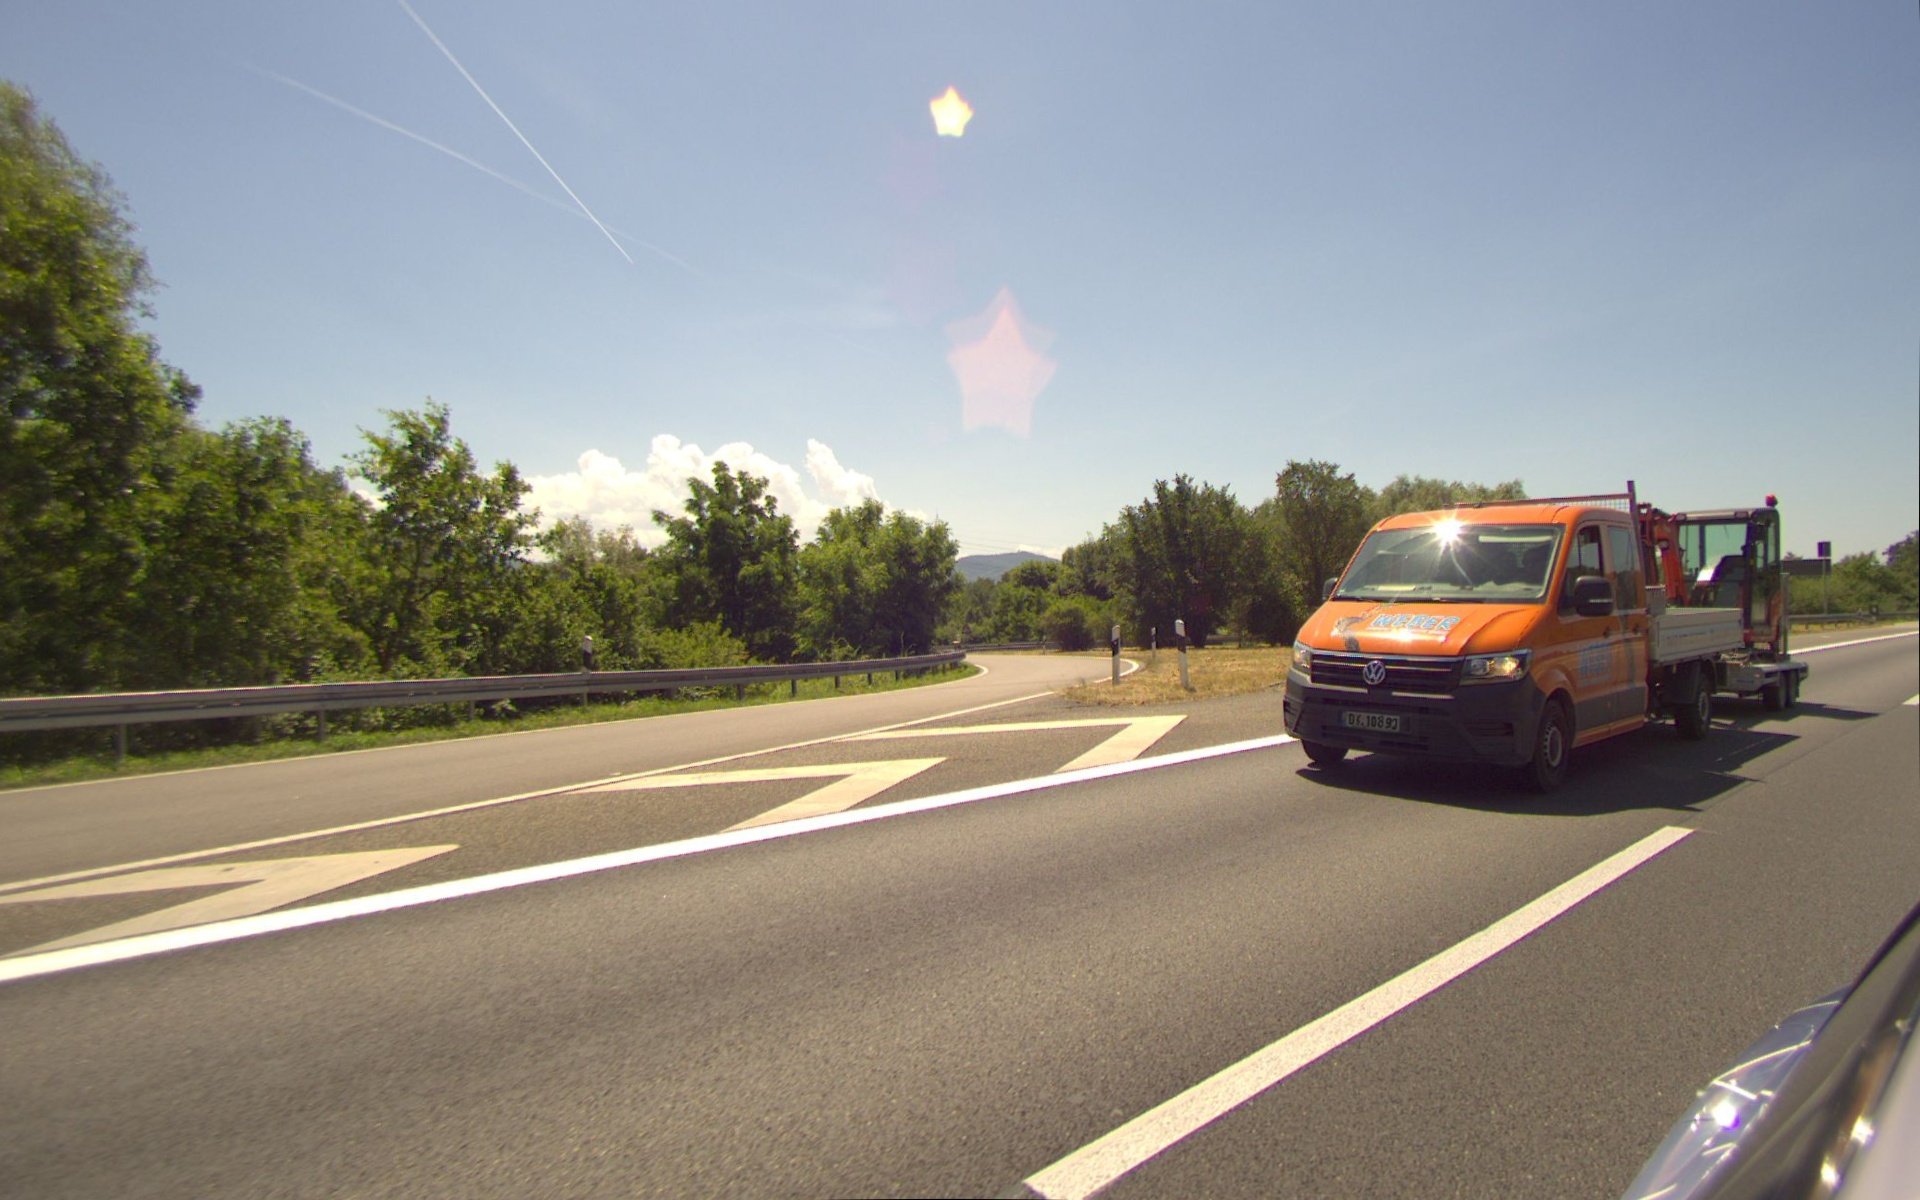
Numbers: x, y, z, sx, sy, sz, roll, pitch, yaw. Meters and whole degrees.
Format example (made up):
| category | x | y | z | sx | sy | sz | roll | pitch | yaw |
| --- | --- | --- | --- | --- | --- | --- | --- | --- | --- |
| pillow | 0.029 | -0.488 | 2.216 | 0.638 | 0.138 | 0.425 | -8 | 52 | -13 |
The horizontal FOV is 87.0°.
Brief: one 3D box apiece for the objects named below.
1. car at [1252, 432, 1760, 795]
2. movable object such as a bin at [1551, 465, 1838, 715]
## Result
| category | x | y | z | sx | sy | sz | roll | pitch | yaw |
| --- | --- | --- | --- | --- | --- | --- | --- | --- | --- |
| car | 5.724 | 0.091 | 9.884 | 7.099 | 2.436 | 1.997 | 0 | 0 | -41 |
| movable object such as a bin | 10.191 | -0.118 | 13.908 | 4.677 | 2.851 | 2.178 | 0 | 0 | -41 |
